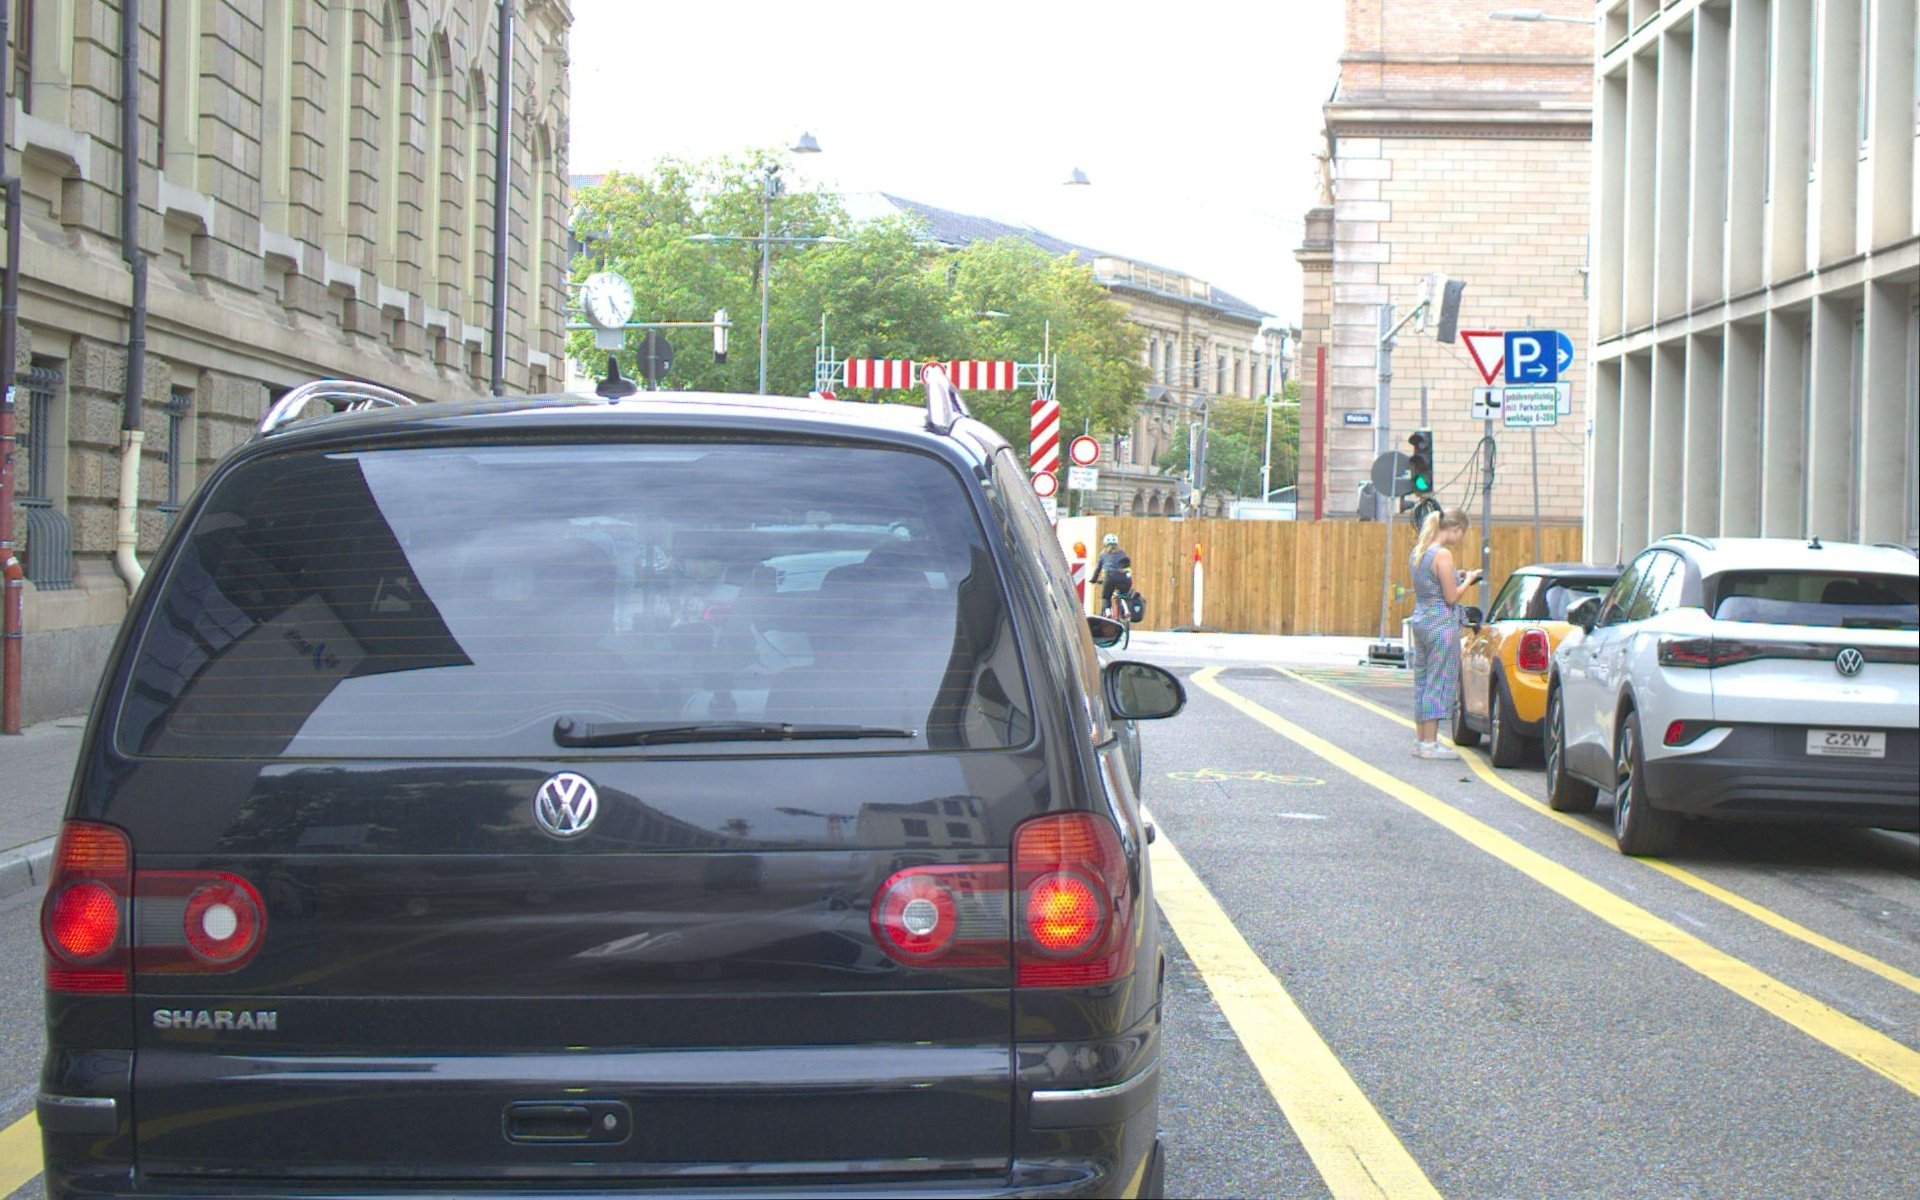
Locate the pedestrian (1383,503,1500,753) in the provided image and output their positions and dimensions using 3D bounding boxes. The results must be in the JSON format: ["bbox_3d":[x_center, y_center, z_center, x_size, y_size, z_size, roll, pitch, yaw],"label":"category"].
[{"bbox_3d":[3.442,0.196,24.602,0.698,1.757,0.706,1,0,-1],"label":"pedestrian"}]

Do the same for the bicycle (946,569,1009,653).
[{"bbox_3d":[0.207,0.125,42.782,0.735,1.005,2.069,1,1,-1],"label":"bicycle"}]

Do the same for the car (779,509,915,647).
[{"bbox_3d":[-1.597,-0.315,47.273,1.734,1.784,4.104,1,1,-3],"label":"car"}]

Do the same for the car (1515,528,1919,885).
[{"bbox_3d":[4.255,0.499,18.526,1.860,1.599,4.512,4,1,2],"label":"car"}]

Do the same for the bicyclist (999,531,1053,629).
[{"bbox_3d":[0.935,-0.281,48.974,0.735,1.372,0.829,1,0,-1],"label":"bicyclist"}]

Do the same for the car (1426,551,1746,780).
[{"bbox_3d":[4.489,0.421,25.149,1.680,1.430,3.886,4,1,2],"label":"car"}]

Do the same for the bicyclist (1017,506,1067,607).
[{"bbox_3d":[1.276,-0.679,53.766,0.735,1.550,0.895,1,0,-1],"label":"bicyclist"}]

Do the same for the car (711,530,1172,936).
[{"bbox_3d":[0.010,0.470,14.799,1.678,1.464,4.103,1,1,2],"label":"car"}]

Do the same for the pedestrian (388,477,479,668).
[{"bbox_3d":[-5.170,-0.270,33.809,0.664,1.813,1.048,3,0,-1],"label":"pedestrian"}]

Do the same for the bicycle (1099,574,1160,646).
[{"bbox_3d":[2.434,0.133,49.477,0.735,1.005,2.069,1,1,-1],"label":"bicycle"}]

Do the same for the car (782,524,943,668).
[{"bbox_3d":[-1.110,-0.068,40.271,1.773,1.580,4.000,1,1,-1],"label":"car"}]

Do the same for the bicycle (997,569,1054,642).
[{"bbox_3d":[0.927,0.064,48.972,0.735,1.005,2.069,1,1,-1],"label":"bicycle"}]

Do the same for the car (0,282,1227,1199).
[{"bbox_3d":[-0.466,0.446,6.813,1.790,1.784,4.103,1,1,2],"label":"car"}]

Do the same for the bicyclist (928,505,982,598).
[{"bbox_3d":[-0.079,-0.776,54.893,0.735,1.465,0.809,1,0,-8],"label":"bicyclist"}]

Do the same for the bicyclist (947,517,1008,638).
[{"bbox_3d":[0.213,-0.283,42.736,0.735,1.473,0.884,1,0,-1],"label":"bicyclist"}]

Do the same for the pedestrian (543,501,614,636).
[{"bbox_3d":[-5.268,-0.431,47.526,0.792,1.813,1.048,3,0,-1],"label":"pedestrian"}]

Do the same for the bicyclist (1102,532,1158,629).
[{"bbox_3d":[2.442,-0.280,49.457,0.735,1.371,0.832,1,0,-1],"label":"bicyclist"}]

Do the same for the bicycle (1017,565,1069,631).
[{"bbox_3d":[1.291,-0.047,53.831,0.735,1.005,2.069,1,1,-1],"label":"bicycle"}]
